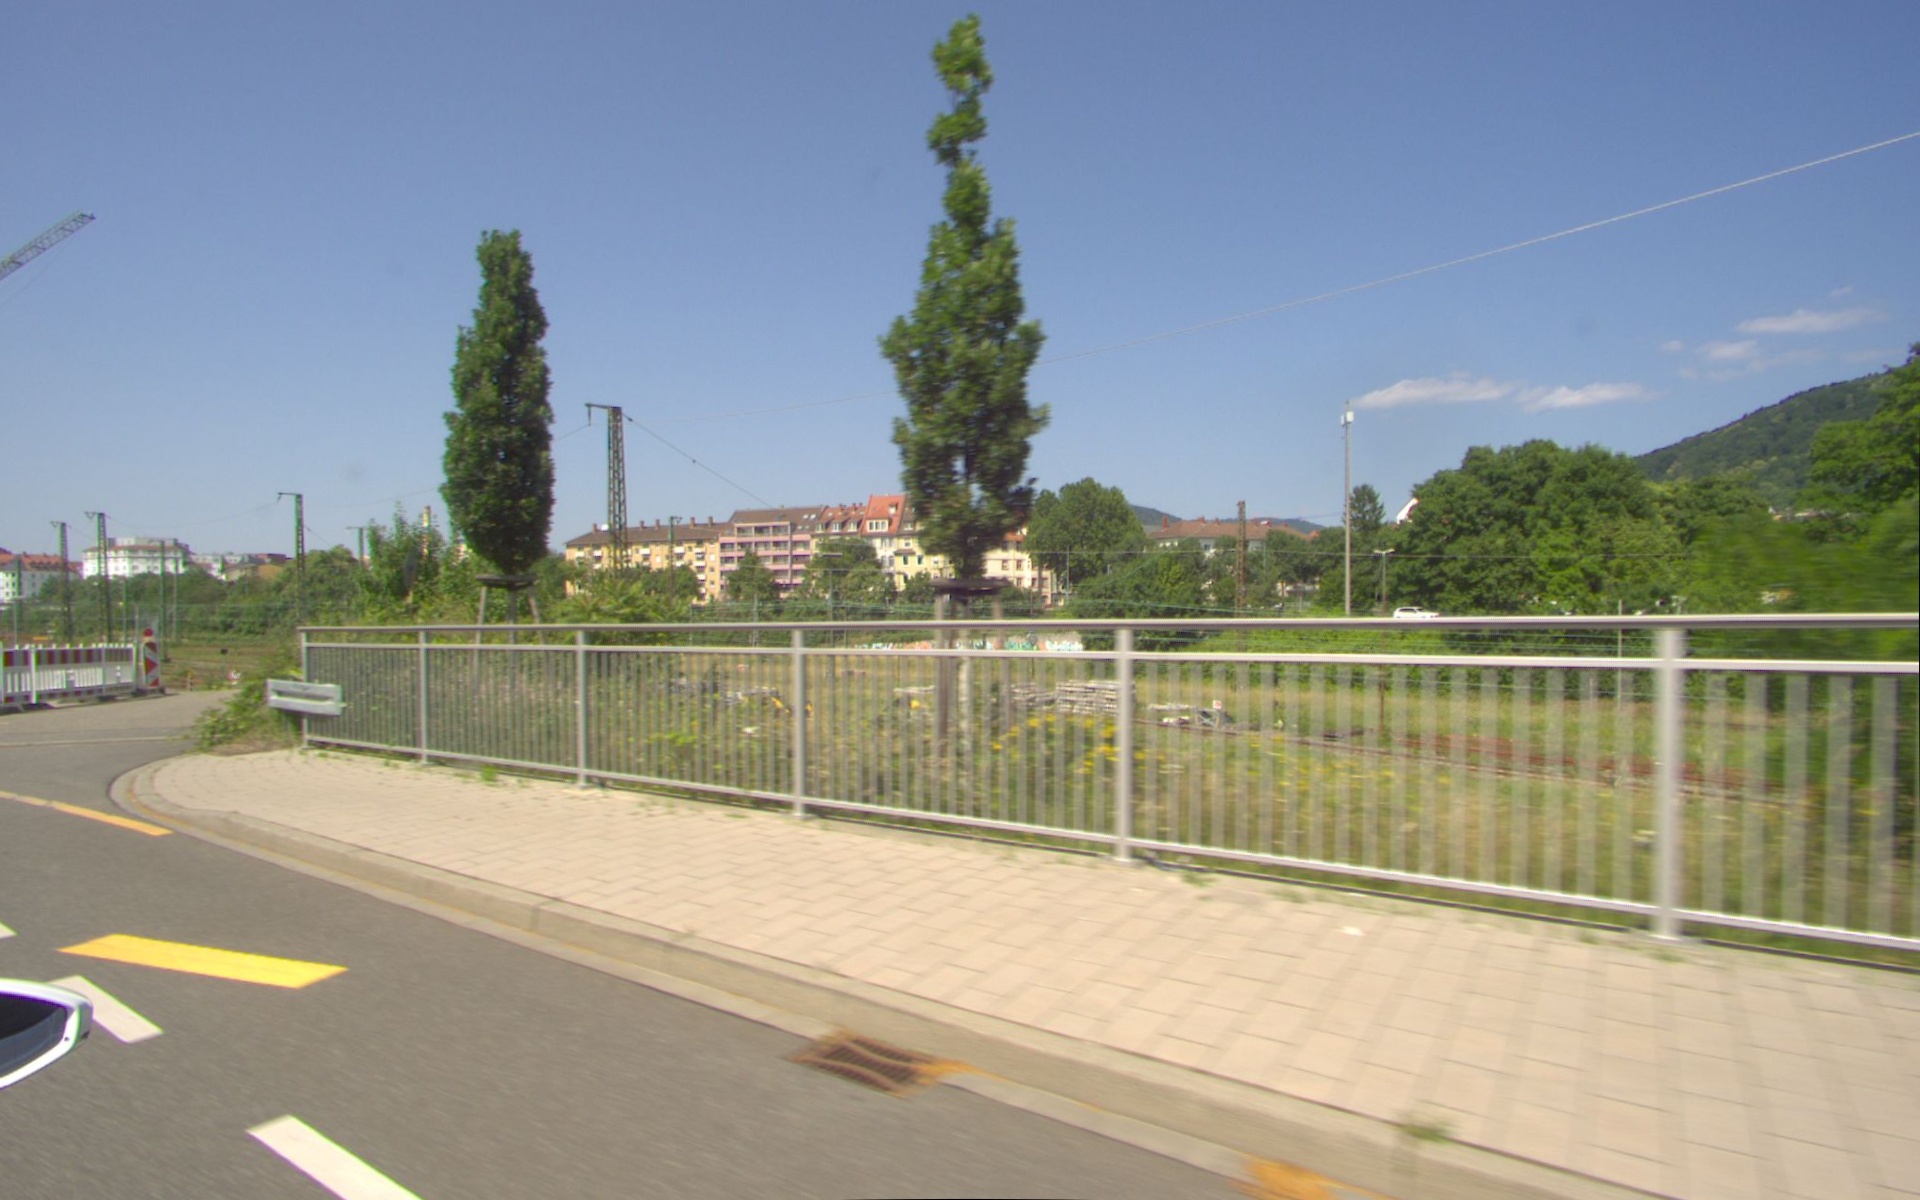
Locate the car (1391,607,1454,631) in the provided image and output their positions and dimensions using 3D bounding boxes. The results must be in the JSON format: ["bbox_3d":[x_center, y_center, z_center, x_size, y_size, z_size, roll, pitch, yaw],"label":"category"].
[{"bbox_3d":[43.064,1.773,93.286,4.934,2.141,1.983,0,0,42],"label":"car"}]
